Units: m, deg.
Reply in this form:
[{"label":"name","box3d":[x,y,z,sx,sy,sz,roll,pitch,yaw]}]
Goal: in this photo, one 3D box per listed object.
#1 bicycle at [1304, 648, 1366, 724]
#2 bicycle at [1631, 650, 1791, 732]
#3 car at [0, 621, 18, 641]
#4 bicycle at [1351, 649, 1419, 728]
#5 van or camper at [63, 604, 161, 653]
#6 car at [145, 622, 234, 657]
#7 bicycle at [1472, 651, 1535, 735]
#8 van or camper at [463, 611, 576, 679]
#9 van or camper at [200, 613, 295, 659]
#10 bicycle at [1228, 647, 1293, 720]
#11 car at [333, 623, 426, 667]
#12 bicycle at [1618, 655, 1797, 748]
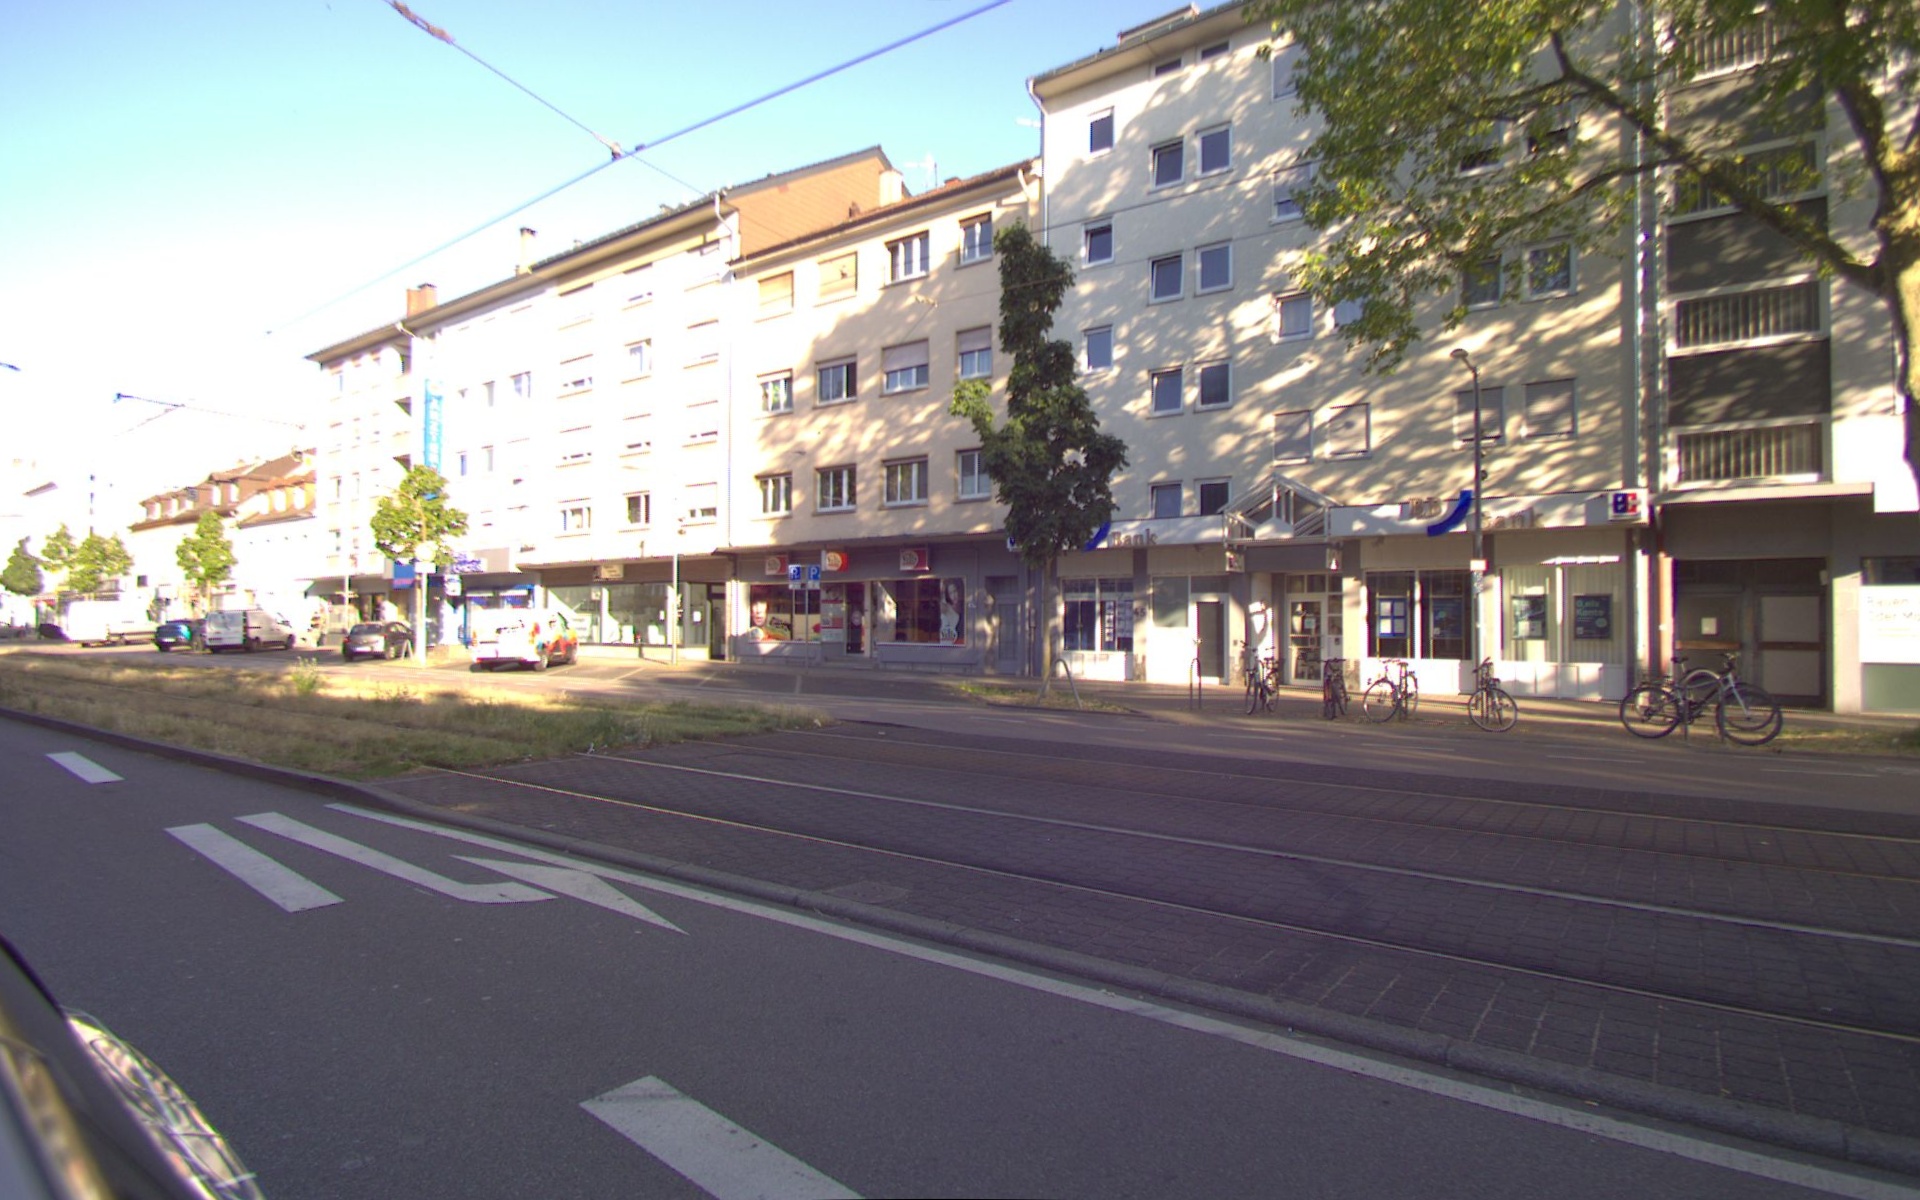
[{"label":"bicycle","box3d":[6.288,1.407,16.933,0.533,1.133,1.878,-1,-1,34]},{"label":"bicycle","box3d":[11.375,1.348,15.388,1.909,1.133,0.503,-1,-1,39]},{"label":"car","box3d":[-77.954,2.520,80.699,1.752,1.501,3.899,-1,0,14]},{"label":"bicycle","box3d":[6.936,1.401,16.462,0.650,1.133,1.878,-1,-1,34]},{"label":"van or camper","box3d":[-50.123,1.615,60.013,1.966,2.687,6.417,-1,0,-15]},{"label":"car","box3d":[-39.107,1.970,51.477,1.850,1.598,4.006,-1,0,-7]},{"label":"bicycle","box3d":[8.327,1.379,15.464,0.650,1.133,1.878,-1,-1,34]},{"label":"van or camper","box3d":[-13.865,1.333,32.166,1.921,1.912,4.821,-1,0,-6]},{"label":"van or camper","box3d":[-33.409,1.631,47.604,1.772,2.004,4.459,-1,0,-8]},{"label":"bicycle","box3d":[5.270,1.420,17.661,0.533,1.133,1.878,-1,-1,34]},{"label":"car","box3d":[-22.526,1.706,39.453,1.741,1.501,4.461,-1,0,-10]},{"label":"bicycle","box3d":[10.075,1.338,13.709,1.909,1.133,0.503,-1,-1,39]}]
